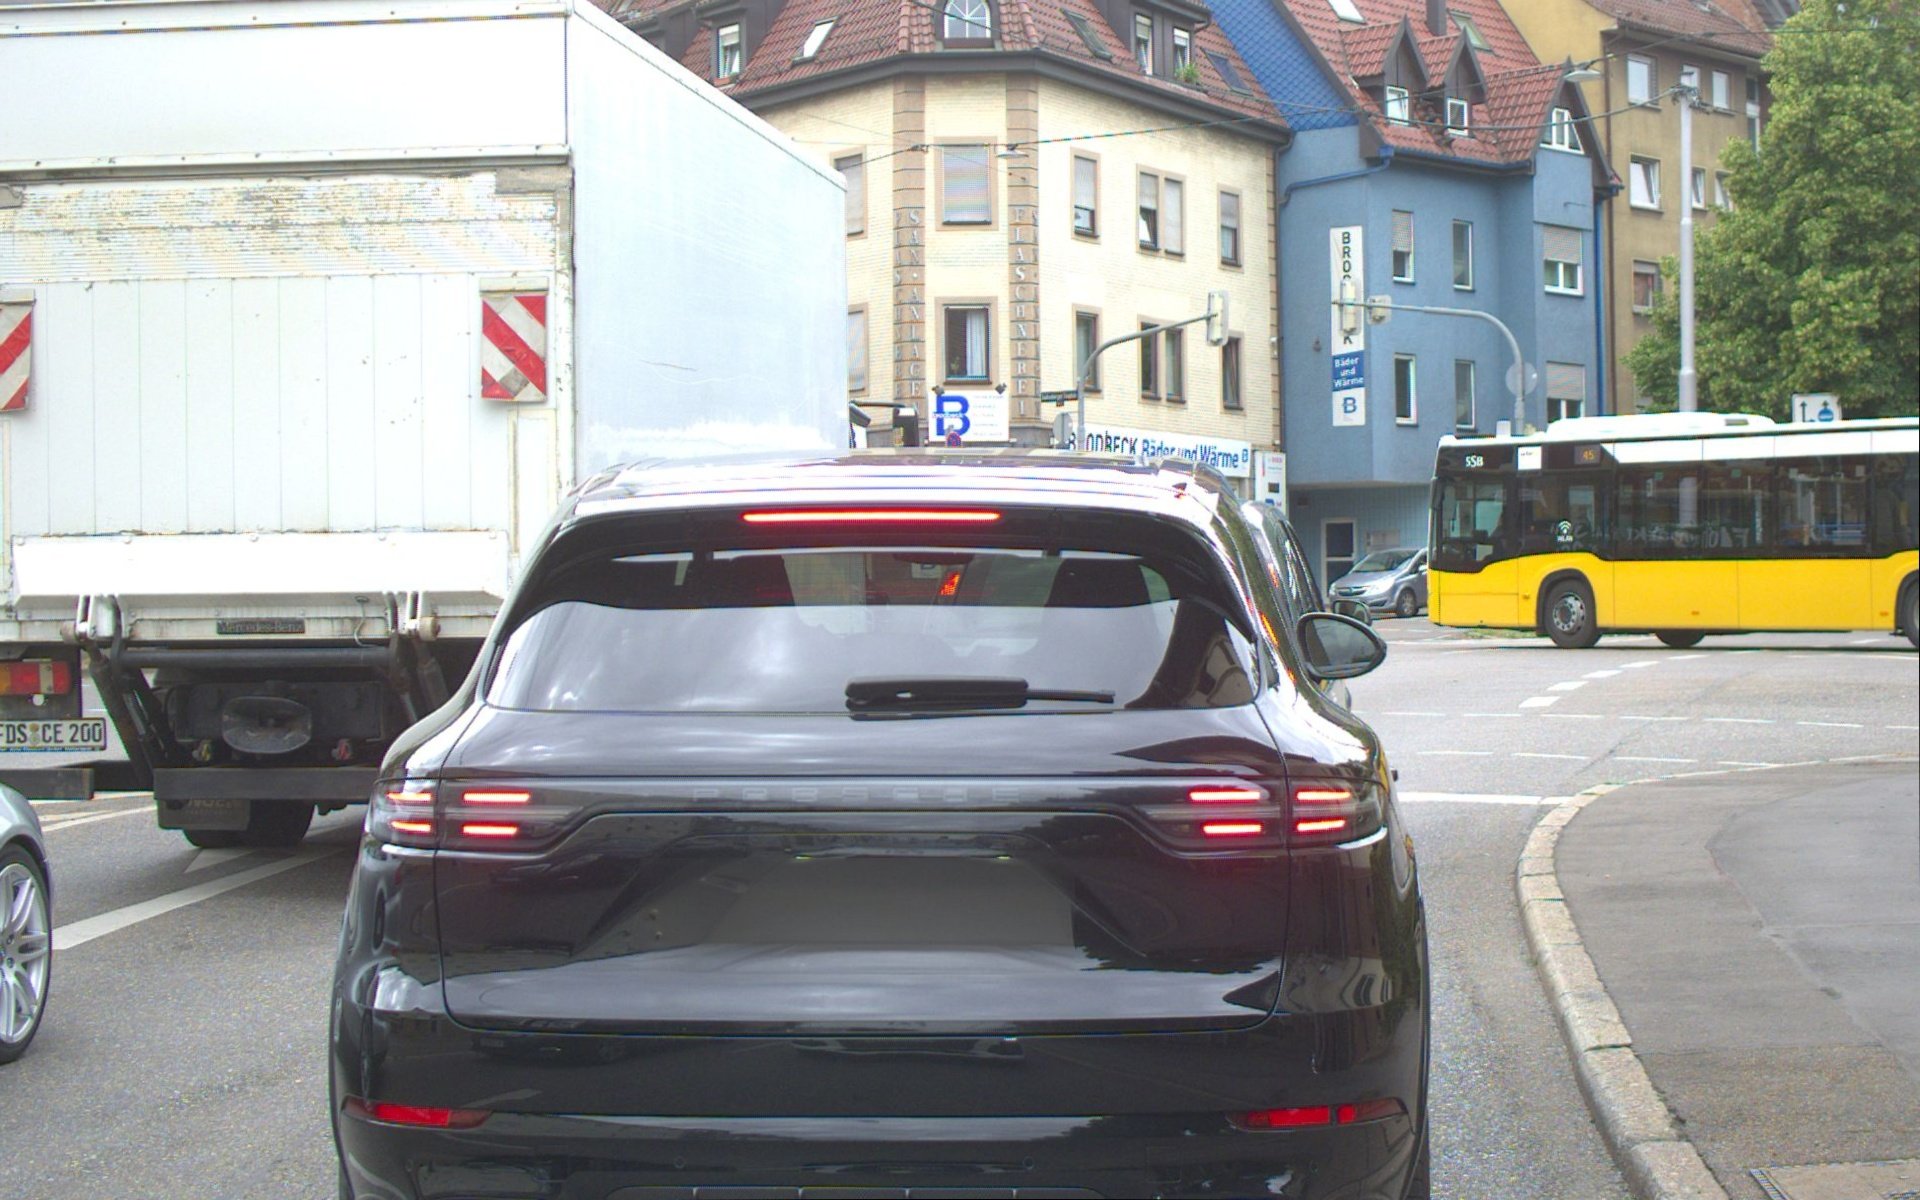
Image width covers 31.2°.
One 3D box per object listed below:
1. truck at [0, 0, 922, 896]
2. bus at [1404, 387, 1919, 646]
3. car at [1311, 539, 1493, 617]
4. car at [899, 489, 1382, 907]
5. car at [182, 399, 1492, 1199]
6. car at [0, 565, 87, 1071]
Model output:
[{"bbox_3d":[-2.195,-0.715,17.357,2.726,3.532,8.419,-1,1,8],"label":"truck"},{"bbox_3d":[11.159,-1.009,44.022,3.158,3.085,12.148,-2,0,-37],"label":"bus"},{"bbox_3d":[9.180,-0.434,71.126,1.720,1.471,4.208,0,-1,40],"label":"car"},{"bbox_3d":[0.890,0.350,14.781,1.649,1.550,3.581,1,1,10],"label":"car"},{"bbox_3d":[-0.115,0.515,7.610,2.032,1.717,4.500,1,1,2],"label":"car"},{"bbox_3d":[-3.500,0.633,8.015,1.629,1.360,4.128,-1,1,4],"label":"car"}]
